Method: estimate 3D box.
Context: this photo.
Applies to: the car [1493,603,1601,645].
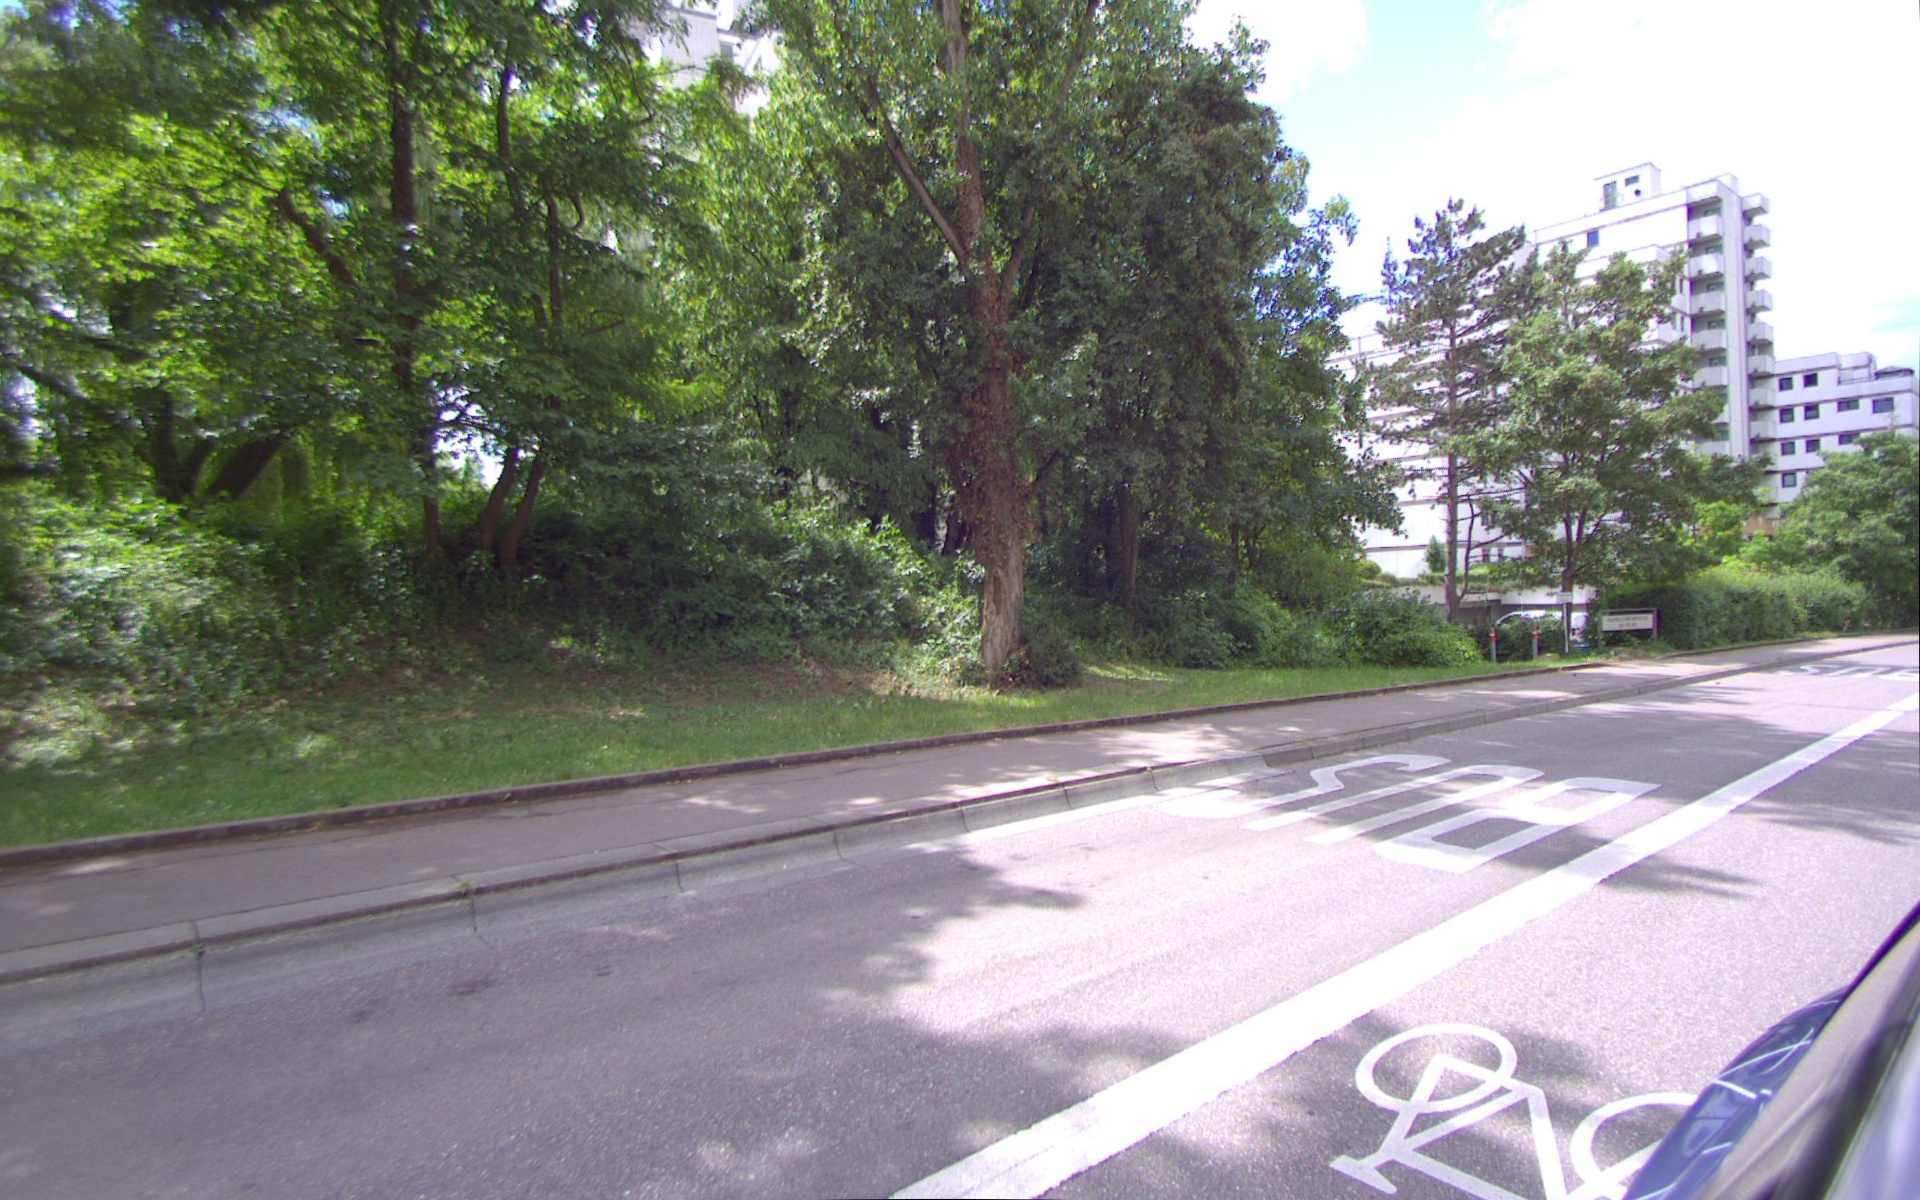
[{"bbox_3d":[31.044,1.222,53.639,1.962,2.039,4.549,-1,0,-34],"label":"car"}]
